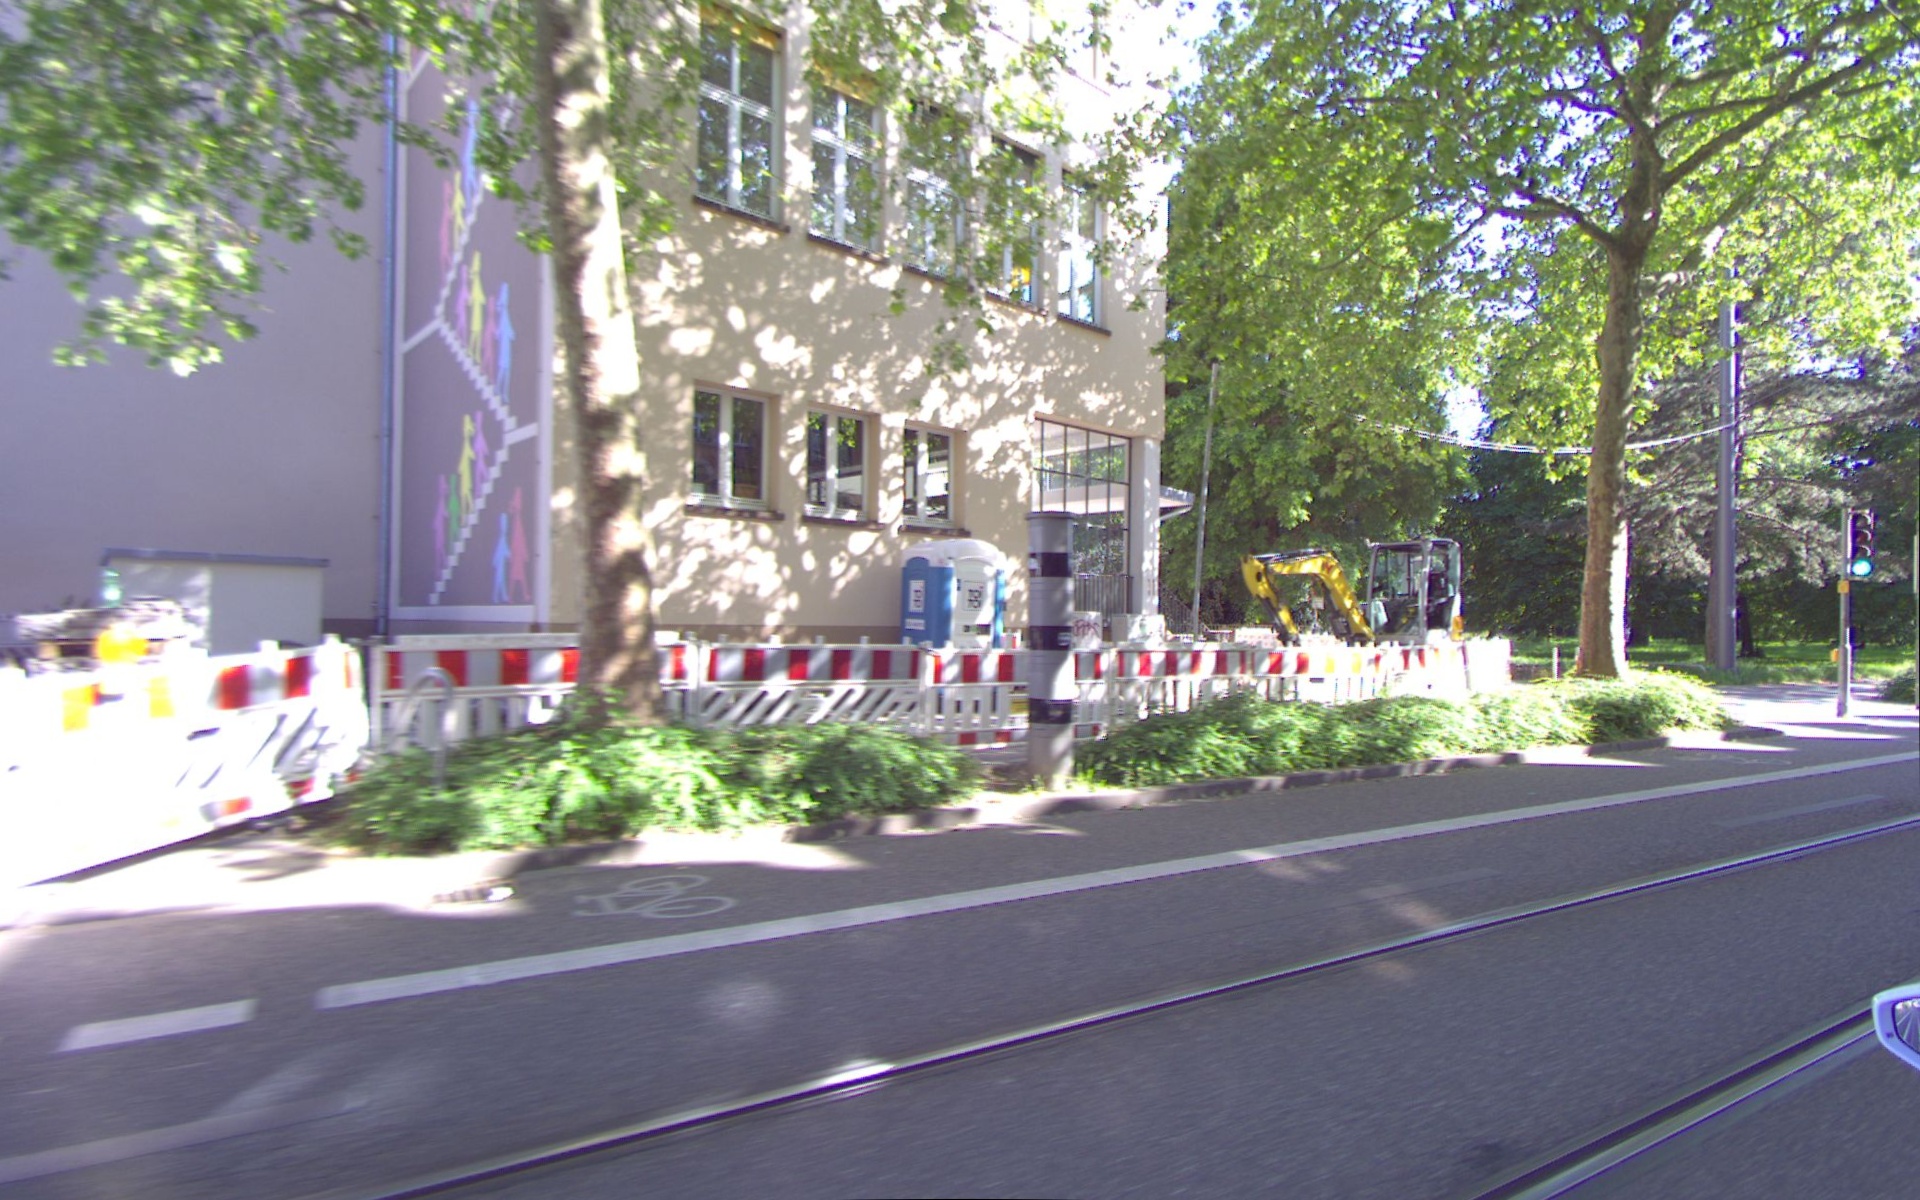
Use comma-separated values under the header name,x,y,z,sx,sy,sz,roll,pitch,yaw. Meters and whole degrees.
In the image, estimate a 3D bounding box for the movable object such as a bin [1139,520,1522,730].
name,x,y,z,sx,sy,sz,roll,pitch,yaw
movable object such as a bin,5.826,0.365,15.495,5.926,2.680,2.480,2,0,-34
